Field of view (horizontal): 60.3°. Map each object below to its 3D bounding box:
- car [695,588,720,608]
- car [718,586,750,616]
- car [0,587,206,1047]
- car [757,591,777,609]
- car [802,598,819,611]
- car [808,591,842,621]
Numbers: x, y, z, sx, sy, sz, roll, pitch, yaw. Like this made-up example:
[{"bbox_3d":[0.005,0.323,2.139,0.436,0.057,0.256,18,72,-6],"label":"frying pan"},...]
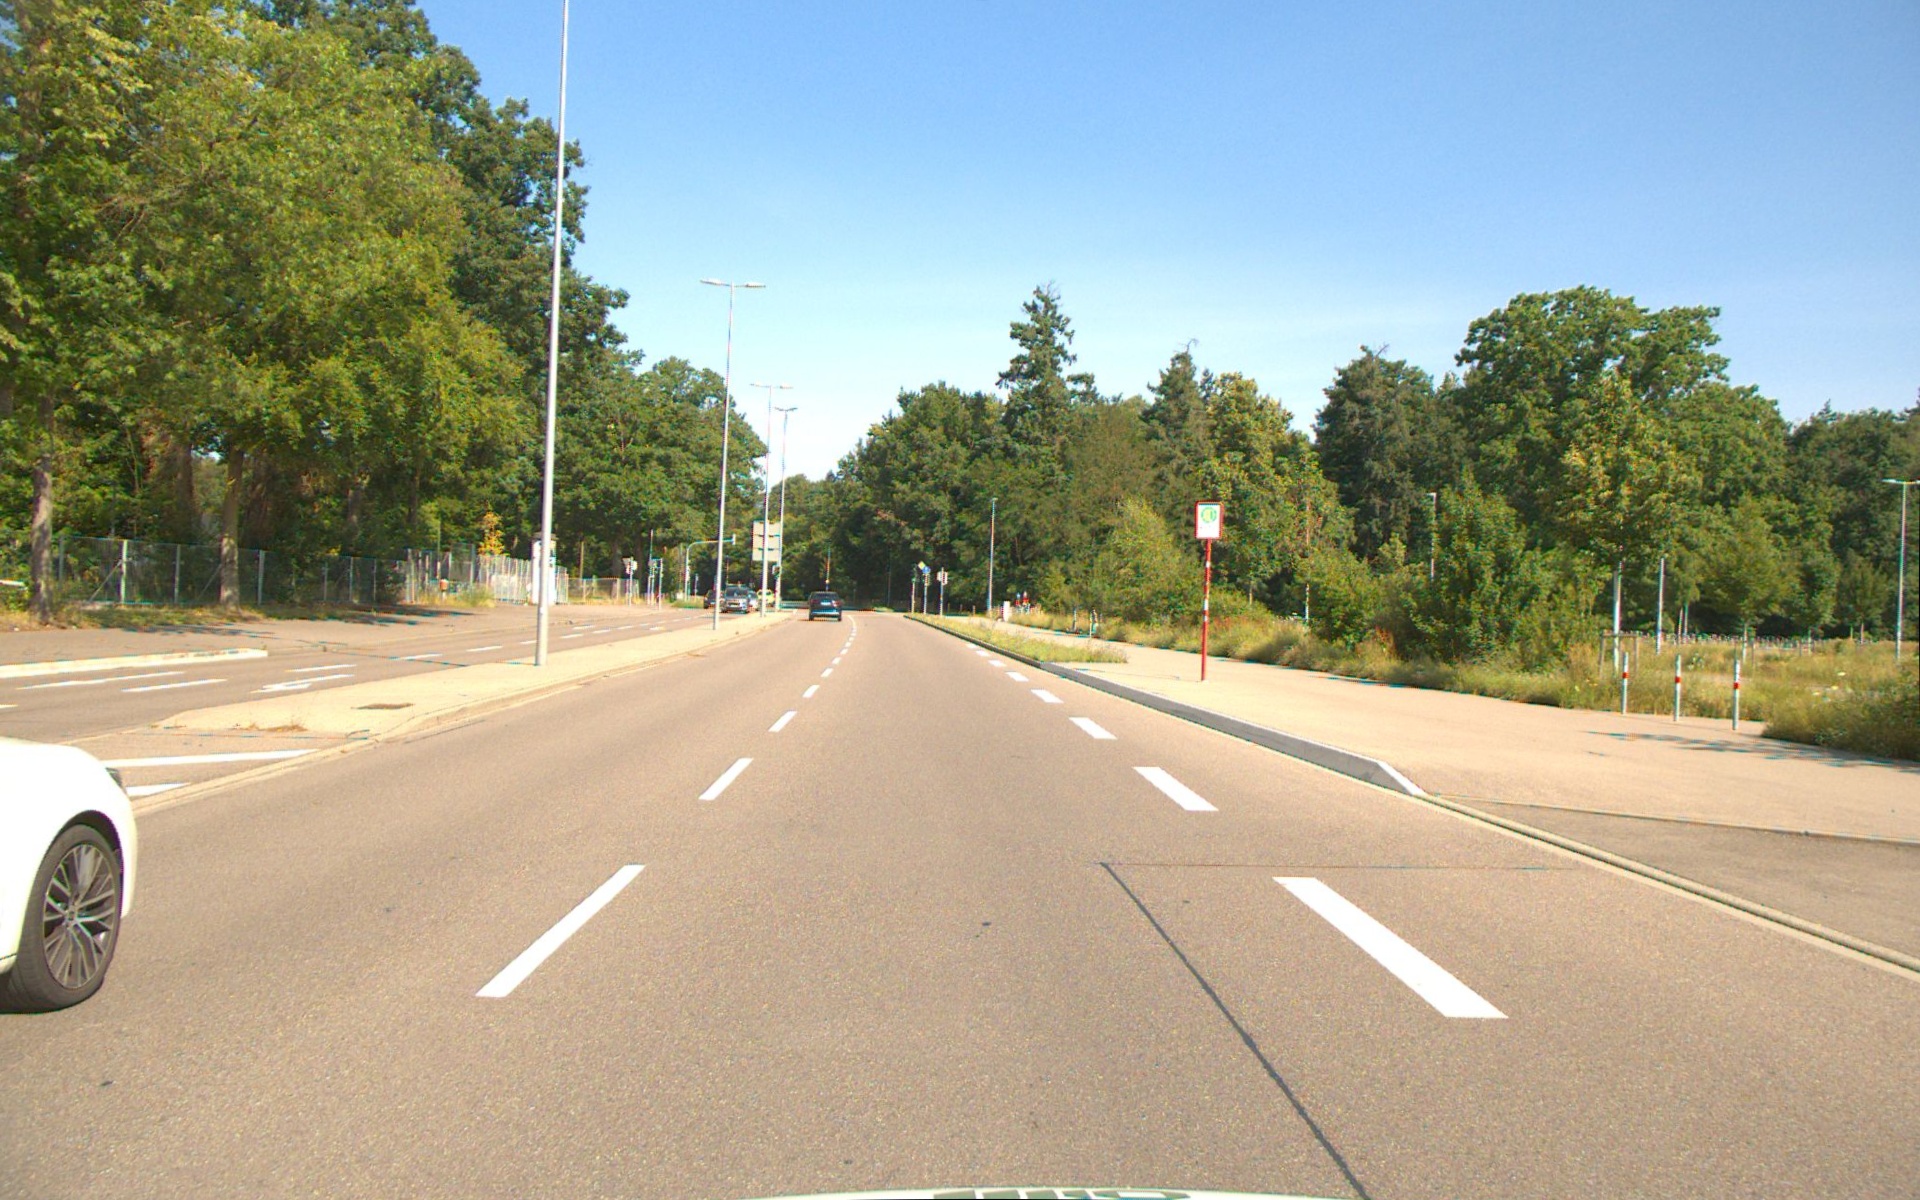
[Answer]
[{"bbox_3d":[-20.770,-0.169,136.302,1.759,1.504,3.995,2,0,-5],"label":"car"},{"bbox_3d":[-15.247,0.056,111.600,1.805,1.966,4.625,1,0,-4],"label":"car"},{"bbox_3d":[-3.878,0.689,4.315,1.690,1.451,4.719,1,0,-1],"label":"car"},{"bbox_3d":[-18.872,-0.044,161.955,1.810,1.646,3.995,3,0,-6],"label":"car"},{"bbox_3d":[-17.727,0.494,196.454,1.903,1.445,4.287,2,0,-6],"label":"car"},{"bbox_3d":[-7.445,0.290,90.917,1.656,1.571,4.142,1,0,-7],"label":"car"}]
